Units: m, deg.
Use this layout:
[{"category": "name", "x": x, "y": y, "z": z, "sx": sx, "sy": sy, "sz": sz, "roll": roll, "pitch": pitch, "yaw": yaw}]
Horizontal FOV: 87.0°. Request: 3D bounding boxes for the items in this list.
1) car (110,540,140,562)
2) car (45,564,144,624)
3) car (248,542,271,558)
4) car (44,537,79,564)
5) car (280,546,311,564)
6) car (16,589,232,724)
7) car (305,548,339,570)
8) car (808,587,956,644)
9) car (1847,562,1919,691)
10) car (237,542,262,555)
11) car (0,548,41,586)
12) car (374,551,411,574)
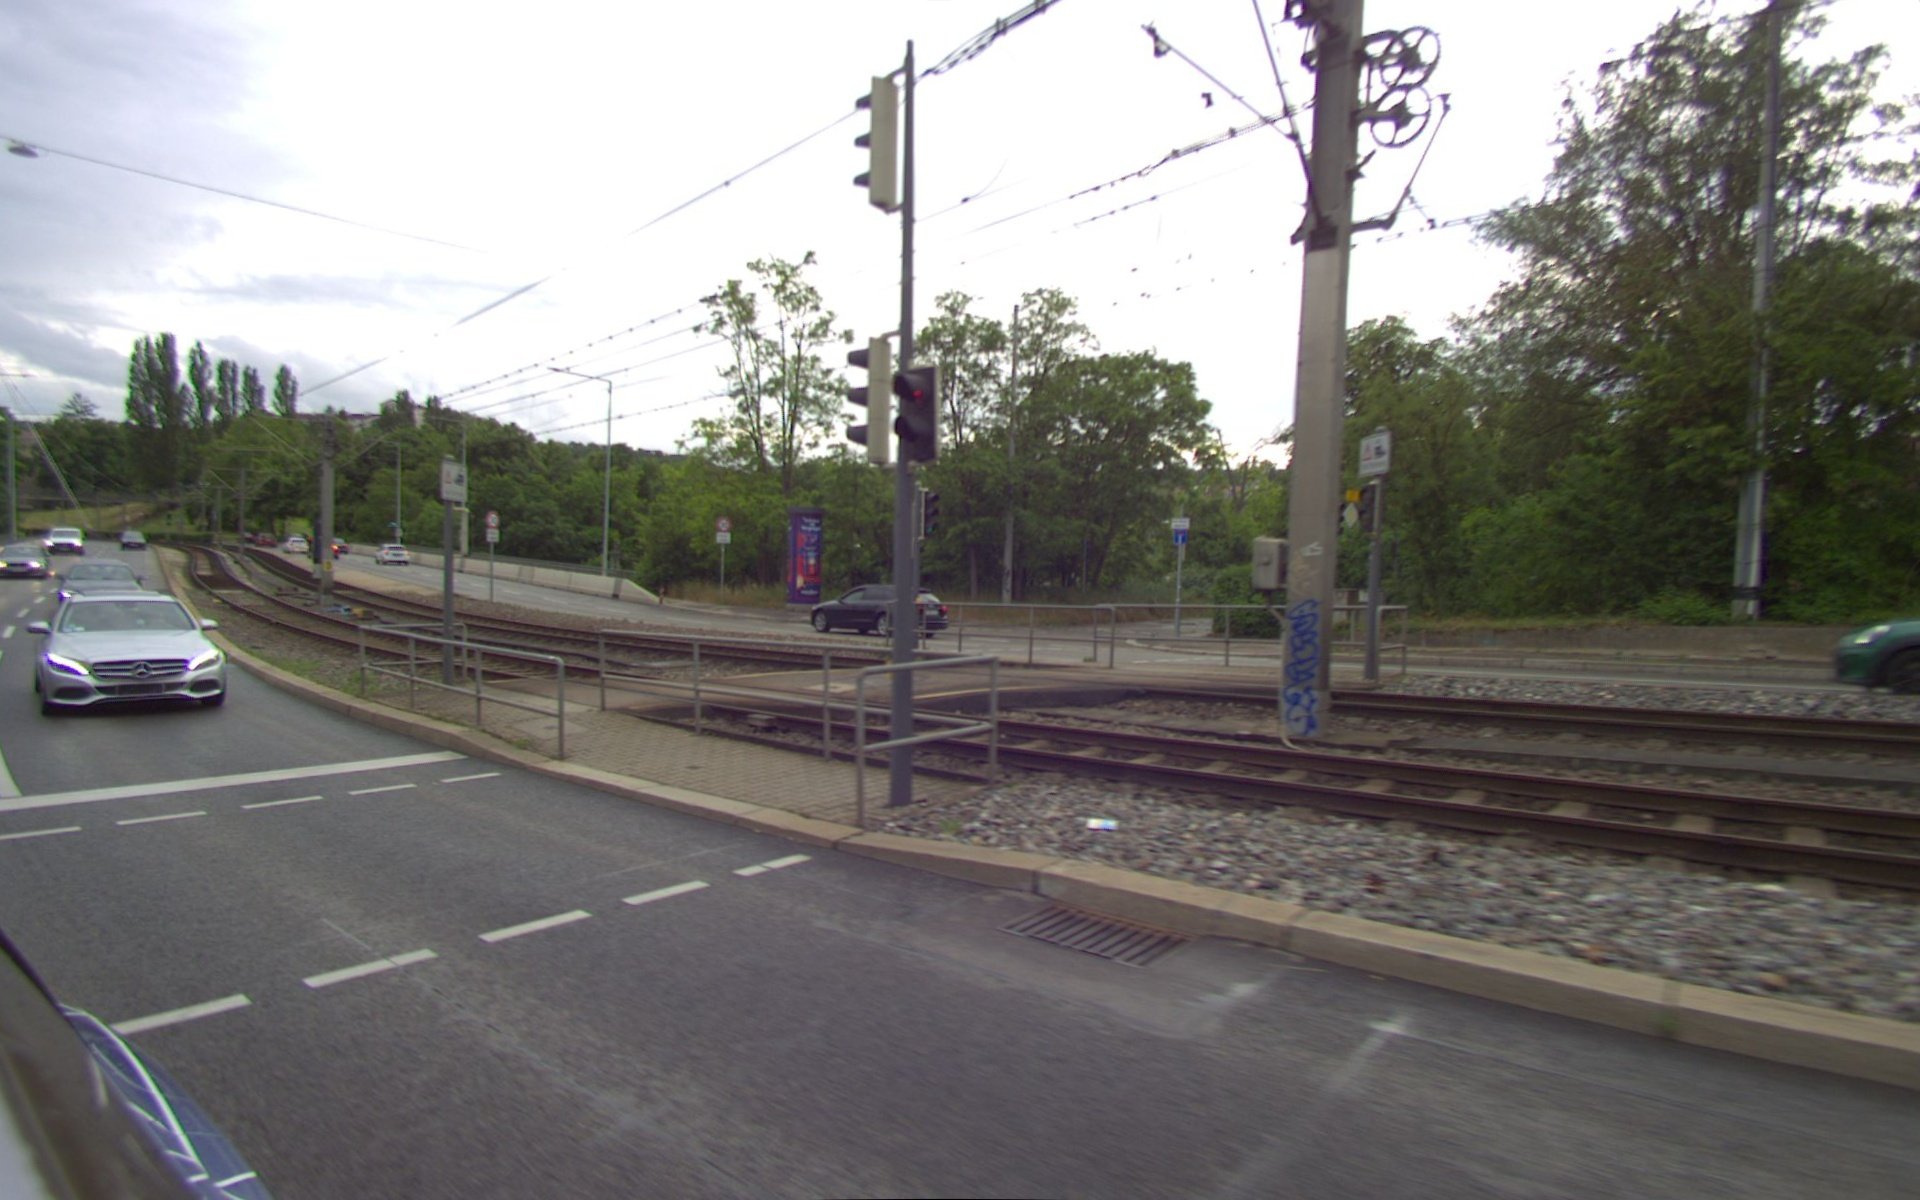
[{"category": "car", "x": -71.795, "y": -4.169, "z": 86.995, "sx": 1.743, "sy": 1.830, "sz": 4.004, "roll": -2, "pitch": 2, "yaw": -43}, {"category": "car", "x": -23.446, "y": -0.215, "z": 27.366, "sx": 4.003, "sy": 1.362, "sz": 1.712, "roll": 5, "pitch": 4, "yaw": 44}, {"category": "car", "x": -75.670, "y": -5.436, "z": 109.300, "sx": 1.581, "sy": 1.504, "sz": 3.022, "roll": 1, "pitch": 4, "yaw": -42}, {"category": "car", "x": -63.806, "y": -3.517, "z": 71.852, "sx": 1.743, "sy": 1.830, "sz": 4.005, "roll": -2, "pitch": 5, "yaw": -43}, {"category": "car", "x": -61.259, "y": -4.147, "z": 93.274, "sx": 1.709, "sy": 1.447, "sz": 4.499, "roll": 1, "pitch": 3, "yaw": -42}, {"category": "car", "x": -11.229, "y": 0.621, "z": 13.501, "sx": 1.846, "sy": 1.366, "sz": 4.063, "roll": -2, "pitch": 3, "yaw": -45}, {"category": "car", "x": -51.740, "y": -3.346, "z": 82.071, "sx": 1.824, "sy": 1.609, "sz": 4.742, "roll": 1, "pitch": 2, "yaw": -38}, {"category": "car", "x": -2.246, "y": 0.375, "z": 28.432, "sx": 4.274, "sy": 1.469, "sz": 1.698, "roll": 1, "pitch": 1, "yaw": 42}, {"category": "car", "x": 11.910, "y": 0.305, "z": 10.630, "sx": 3.893, "sy": 1.395, "sz": 1.615, "roll": 0, "pitch": -1, "yaw": 42}, {"category": "car", "x": -88.870, "y": -6.470, "z": 126.565, "sx": 1.795, "sy": 1.447, "sz": 4.744, "roll": -1, "pitch": 3, "yaw": -45}, {"category": "car", "x": -40.311, "y": -1.432, "z": 43.082, "sx": 1.742, "sy": 1.512, "sz": 4.005, "roll": -1, "pitch": 3, "yaw": -42}, {"category": "car", "x": -42.728, "y": -2.867, "z": 76.144, "sx": 1.797, "sy": 1.526, "sz": 4.540, "roll": 0, "pitch": 3, "yaw": -37}]
